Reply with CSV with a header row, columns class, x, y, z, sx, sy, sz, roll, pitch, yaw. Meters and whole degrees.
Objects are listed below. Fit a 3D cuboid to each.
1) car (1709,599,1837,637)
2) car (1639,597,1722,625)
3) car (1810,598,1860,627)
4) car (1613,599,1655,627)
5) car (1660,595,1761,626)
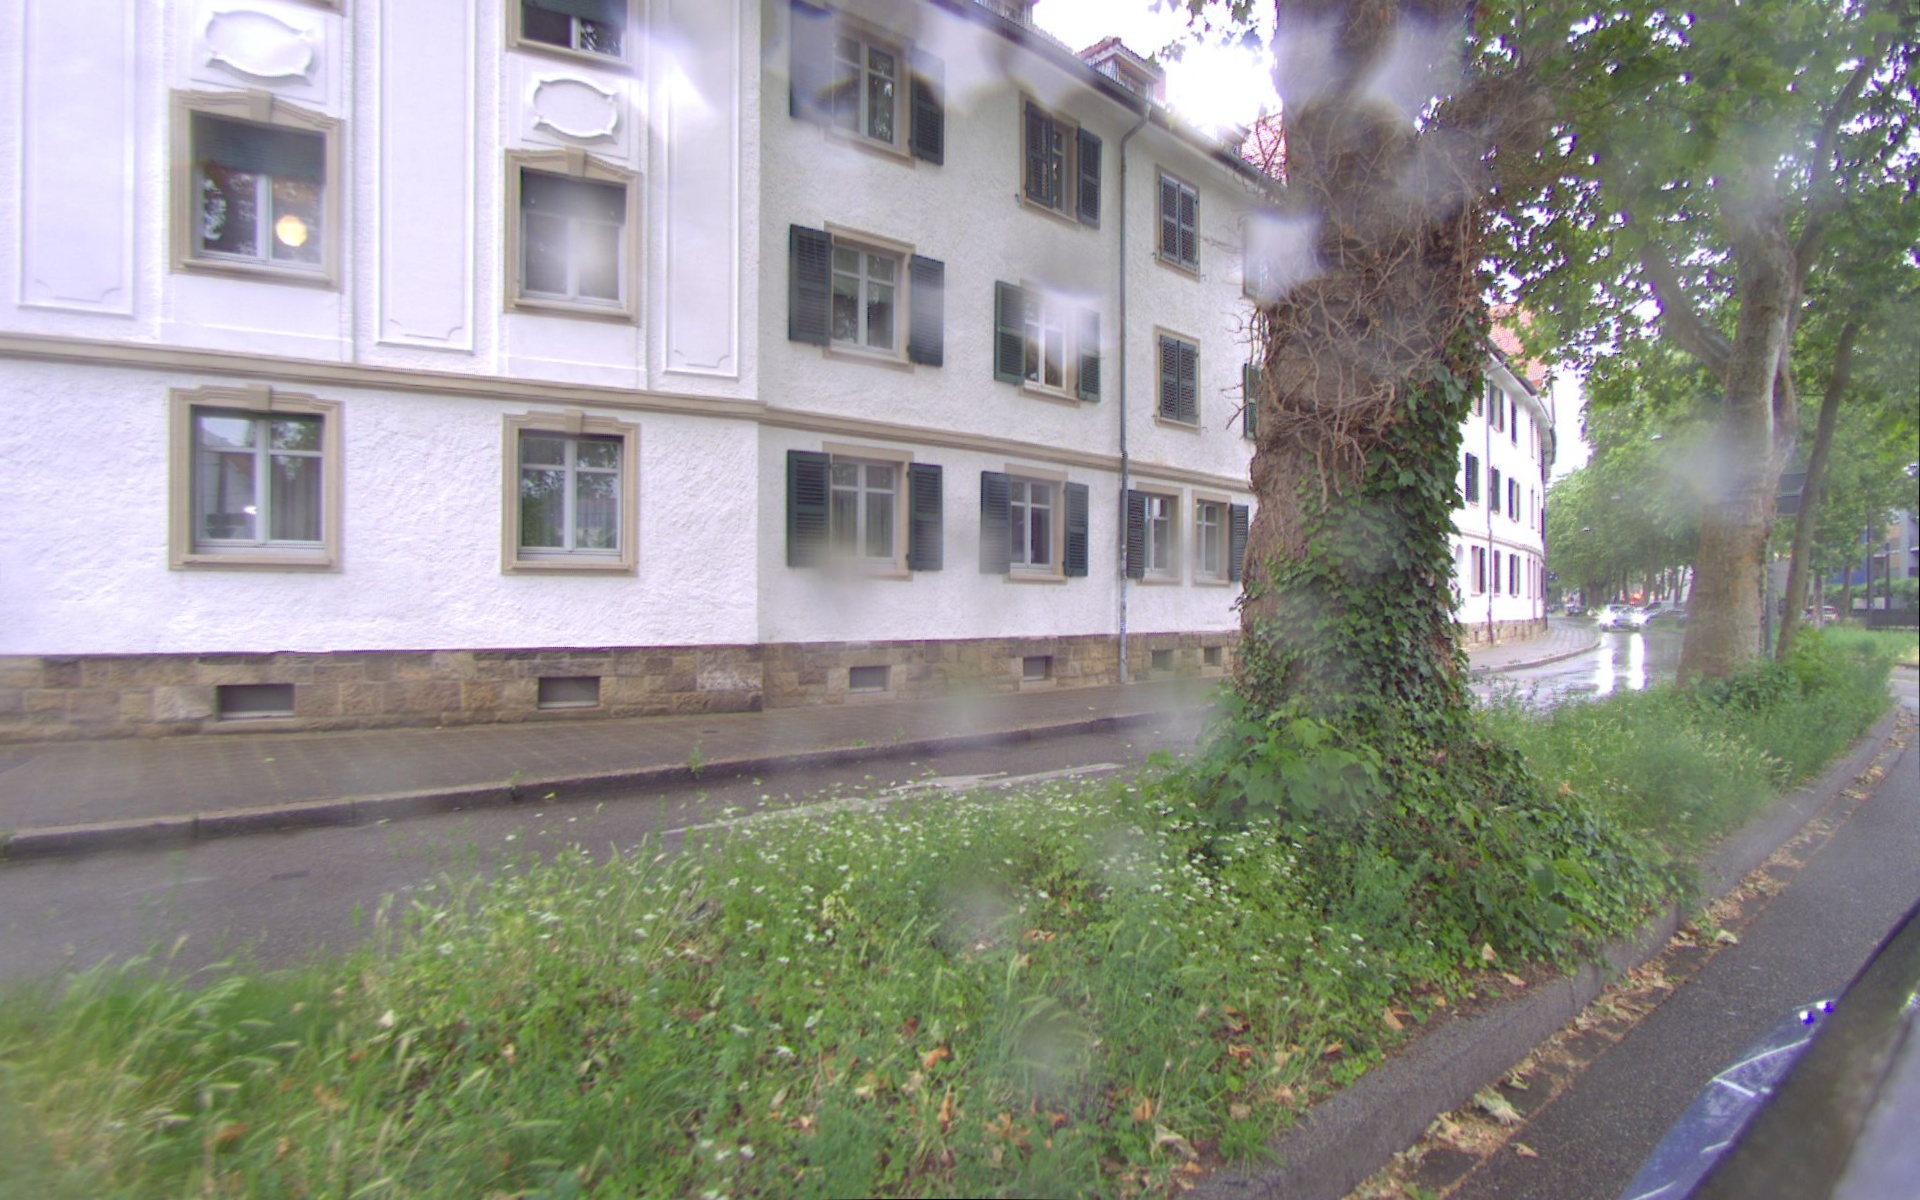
class,x,y,z,sx,sy,sz,roll,pitch,yaw
car,37.851,0.819,47.234,1.892,1.560,4.236,1,1,-30
car,56.538,0.824,79.509,1.960,2.039,4.899,1,1,-30
car,57.559,0.788,66.618,1.677,1.745,3.655,2,1,28
car,40.313,0.733,60.591,1.837,1.616,4.170,1,0,31
car,43.176,0.567,58.272,1.715,1.632,4.335,1,1,-35
